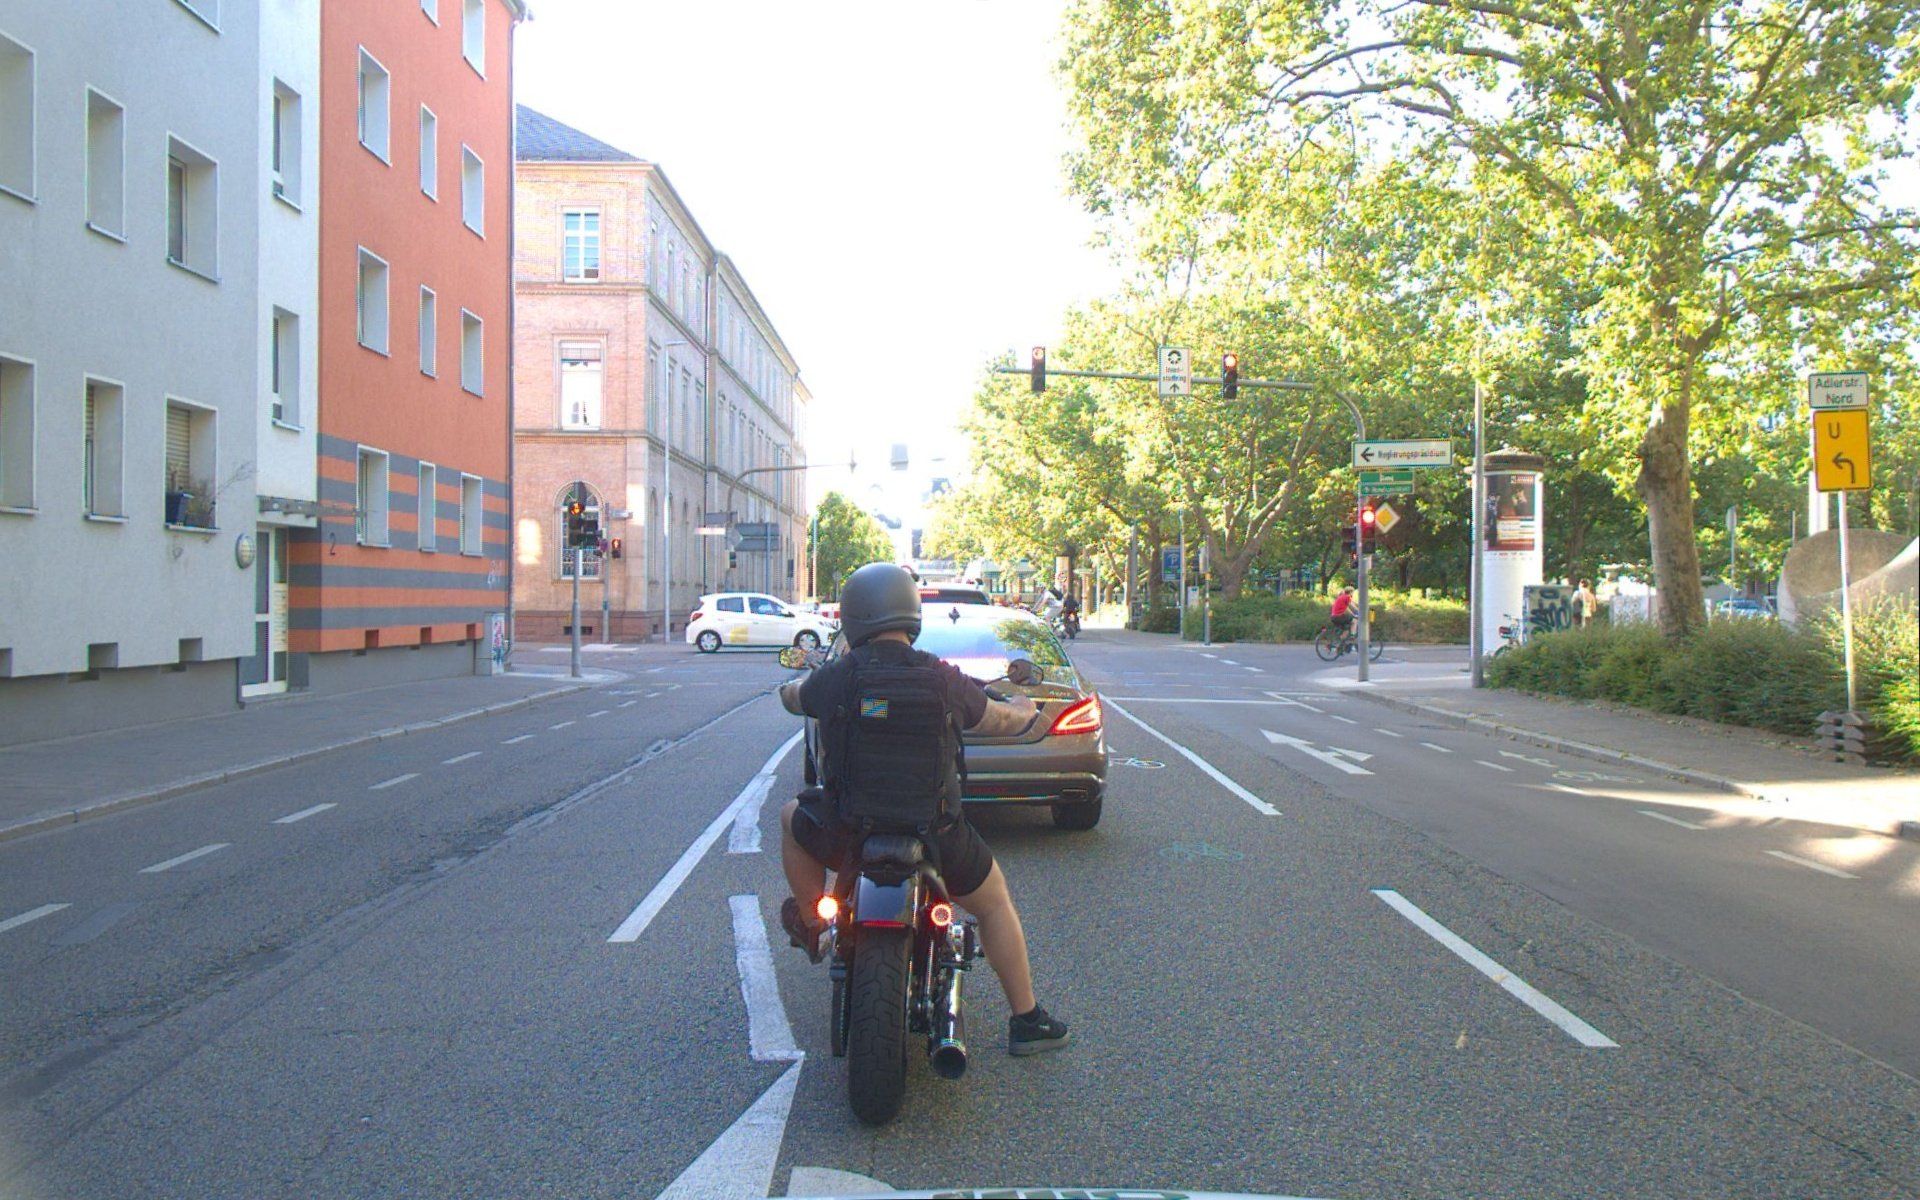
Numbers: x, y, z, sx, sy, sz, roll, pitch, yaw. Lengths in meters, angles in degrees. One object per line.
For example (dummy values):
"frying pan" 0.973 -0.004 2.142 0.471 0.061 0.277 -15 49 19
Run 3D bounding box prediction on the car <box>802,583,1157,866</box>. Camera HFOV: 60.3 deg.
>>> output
"car" -0.086 0.685 11.122 1.790 1.512 4.326 1 0 -7

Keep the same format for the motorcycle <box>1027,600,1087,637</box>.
"motorcycle" 2.735 0.518 46.522 1.683 1.019 0.416 0 0 3

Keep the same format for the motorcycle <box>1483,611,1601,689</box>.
"motorcycle" 9.777 0.835 27.819 1.743 1.265 0.723 1 0 4

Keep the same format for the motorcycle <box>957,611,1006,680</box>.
"motorcycle" 0.361 0.778 29.226 0.781 1.151 2.236 1 0 -1

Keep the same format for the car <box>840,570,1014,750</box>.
"car" -0.337 0.574 17.649 1.618 1.681 3.999 1 0 -1

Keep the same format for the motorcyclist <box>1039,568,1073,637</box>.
"motorcyclist" 2.699 0.071 46.484 0.962 1.909 0.376 0 -1 3

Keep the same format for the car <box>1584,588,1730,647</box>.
"car" 21.994 0.532 52.288 3.907 1.803 1.737 0 0 -3

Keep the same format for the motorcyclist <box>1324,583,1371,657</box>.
"motorcyclist" 9.298 0.472 39.722 0.965 1.753 0.550 1 -1 -2

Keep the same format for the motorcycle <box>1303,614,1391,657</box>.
"motorcycle" 9.284 0.846 39.717 1.971 0.979 0.580 1 0 -2

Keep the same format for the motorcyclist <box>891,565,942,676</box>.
"motorcyclist" -0.730 0.348 27.783 0.814 1.820 0.913 1 0 -1

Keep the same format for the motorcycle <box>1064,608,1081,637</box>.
"motorcycle" 4.353 0.865 63.983 0.613 1.116 2.088 1 0 4

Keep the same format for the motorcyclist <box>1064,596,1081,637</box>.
"motorcyclist" 4.356 0.621 64.175 0.630 1.564 0.943 1 0 3

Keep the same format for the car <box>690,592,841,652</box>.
"car" -4.834 0.548 41.283 3.673 1.442 1.438 0 0 -6

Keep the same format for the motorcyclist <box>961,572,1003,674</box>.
"motorcyclist" 0.382 0.408 29.236 0.702 1.773 0.751 1 -1 -1

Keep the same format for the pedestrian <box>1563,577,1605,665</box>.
"pedestrian" 13.250 0.442 35.114 0.634 1.859 0.667 0 0 -1

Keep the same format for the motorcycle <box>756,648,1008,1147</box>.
"motorcycle" -0.220 0.818 5.412 0.646 1.261 2.057 1 0 -1

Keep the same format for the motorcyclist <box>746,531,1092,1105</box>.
"motorcyclist" -0.124 0.631 5.322 0.970 1.639 1.120 1 0 -1
